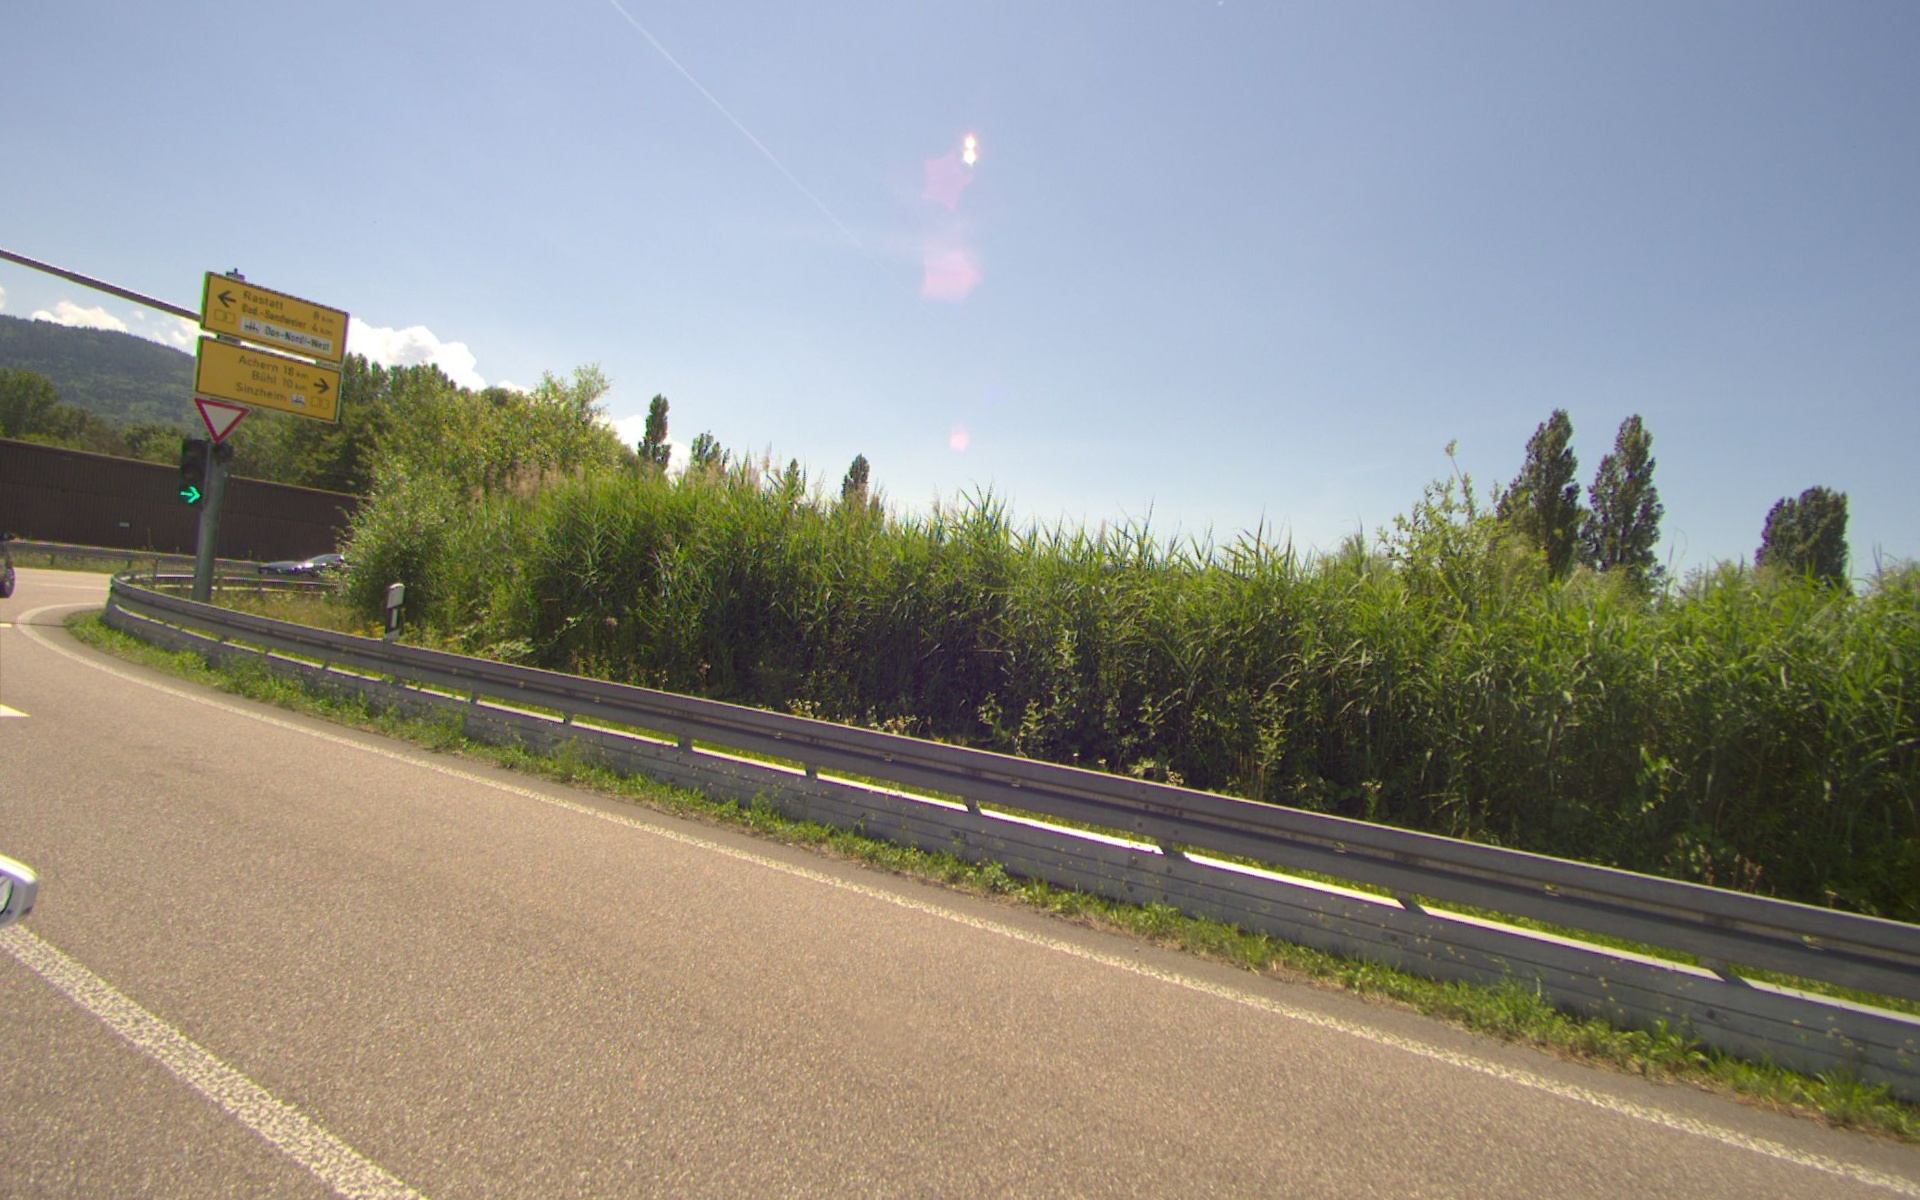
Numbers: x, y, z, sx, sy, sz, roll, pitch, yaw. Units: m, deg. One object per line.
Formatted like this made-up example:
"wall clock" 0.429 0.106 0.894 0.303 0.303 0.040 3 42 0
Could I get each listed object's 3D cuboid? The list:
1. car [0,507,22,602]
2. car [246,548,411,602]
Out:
"car" -16.504 -0.831 16.088 1.630 1.615 3.527 8 -2 -36
"car" -22.631 -0.861 36.267 1.881 1.380 4.642 5 -2 29
